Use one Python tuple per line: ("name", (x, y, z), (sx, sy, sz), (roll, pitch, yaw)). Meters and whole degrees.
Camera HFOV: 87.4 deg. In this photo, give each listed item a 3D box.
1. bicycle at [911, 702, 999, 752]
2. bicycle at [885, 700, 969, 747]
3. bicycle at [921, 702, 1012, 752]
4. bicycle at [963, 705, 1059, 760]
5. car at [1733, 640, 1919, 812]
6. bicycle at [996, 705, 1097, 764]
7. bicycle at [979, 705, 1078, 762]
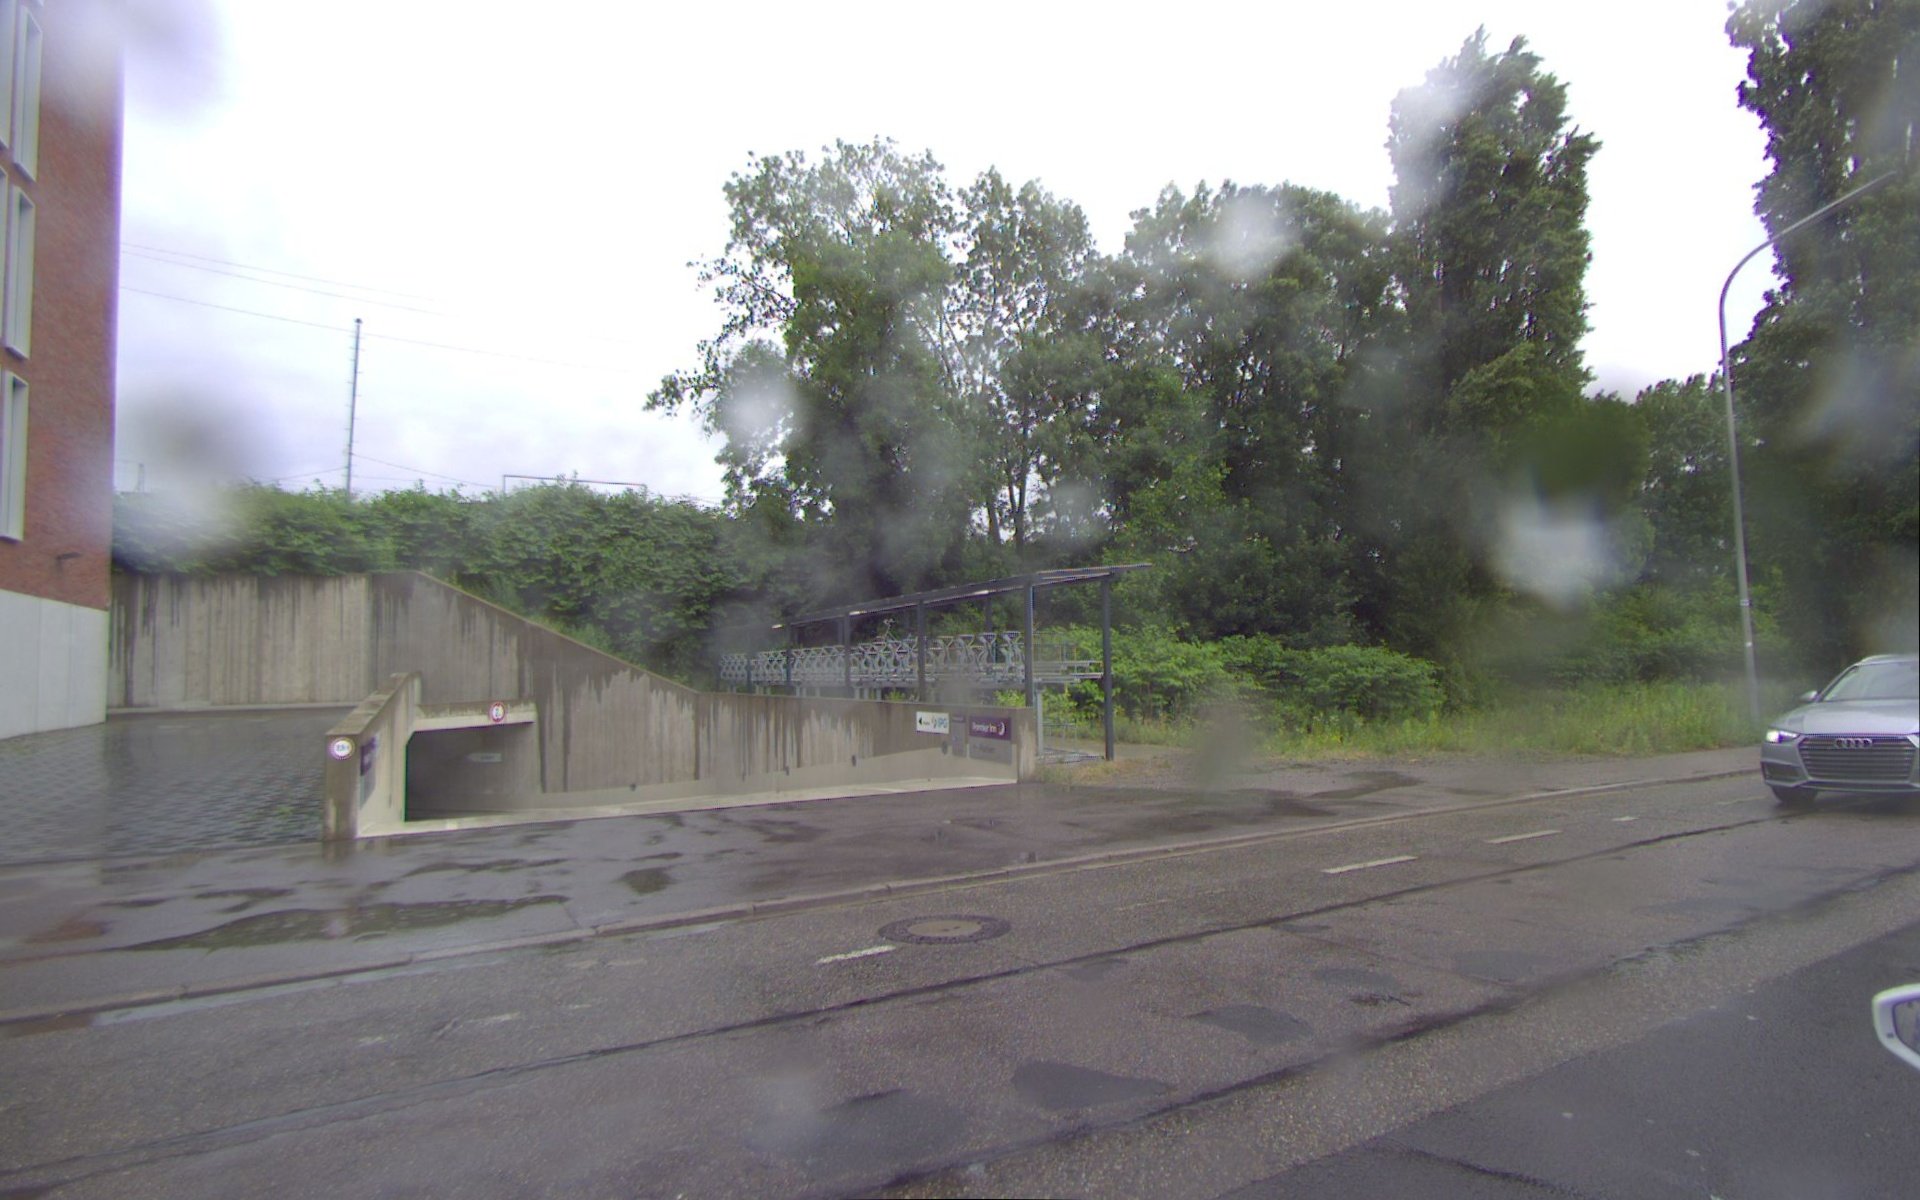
("bicycle", (-0.090, 2.483, 19.731), (1.684, 0.869, 0.514), (1, -5, -30))
("bicycle", (-0.686, 2.544, 20.852), (1.684, 0.869, 0.514), (1, -5, -30))
("bicycle", (0.136, 2.410, 19.190), (1.684, 0.869, 0.514), (1, -5, -30))
("bicycle", (0.897, 2.303, 17.592), (1.652, 0.869, 0.514), (1, -5, -30))
("car", (9.883, 1.168, 10.080), (4.328, 1.468, 1.727), (1, -7, -30))
("bicycle", (1.446, 2.204, 16.639), (1.652, 0.869, 0.514), (1, -5, -30))
("bicycle", (1.172, 2.253, 17.117), (1.652, 0.869, 0.514), (1, -5, -30))
